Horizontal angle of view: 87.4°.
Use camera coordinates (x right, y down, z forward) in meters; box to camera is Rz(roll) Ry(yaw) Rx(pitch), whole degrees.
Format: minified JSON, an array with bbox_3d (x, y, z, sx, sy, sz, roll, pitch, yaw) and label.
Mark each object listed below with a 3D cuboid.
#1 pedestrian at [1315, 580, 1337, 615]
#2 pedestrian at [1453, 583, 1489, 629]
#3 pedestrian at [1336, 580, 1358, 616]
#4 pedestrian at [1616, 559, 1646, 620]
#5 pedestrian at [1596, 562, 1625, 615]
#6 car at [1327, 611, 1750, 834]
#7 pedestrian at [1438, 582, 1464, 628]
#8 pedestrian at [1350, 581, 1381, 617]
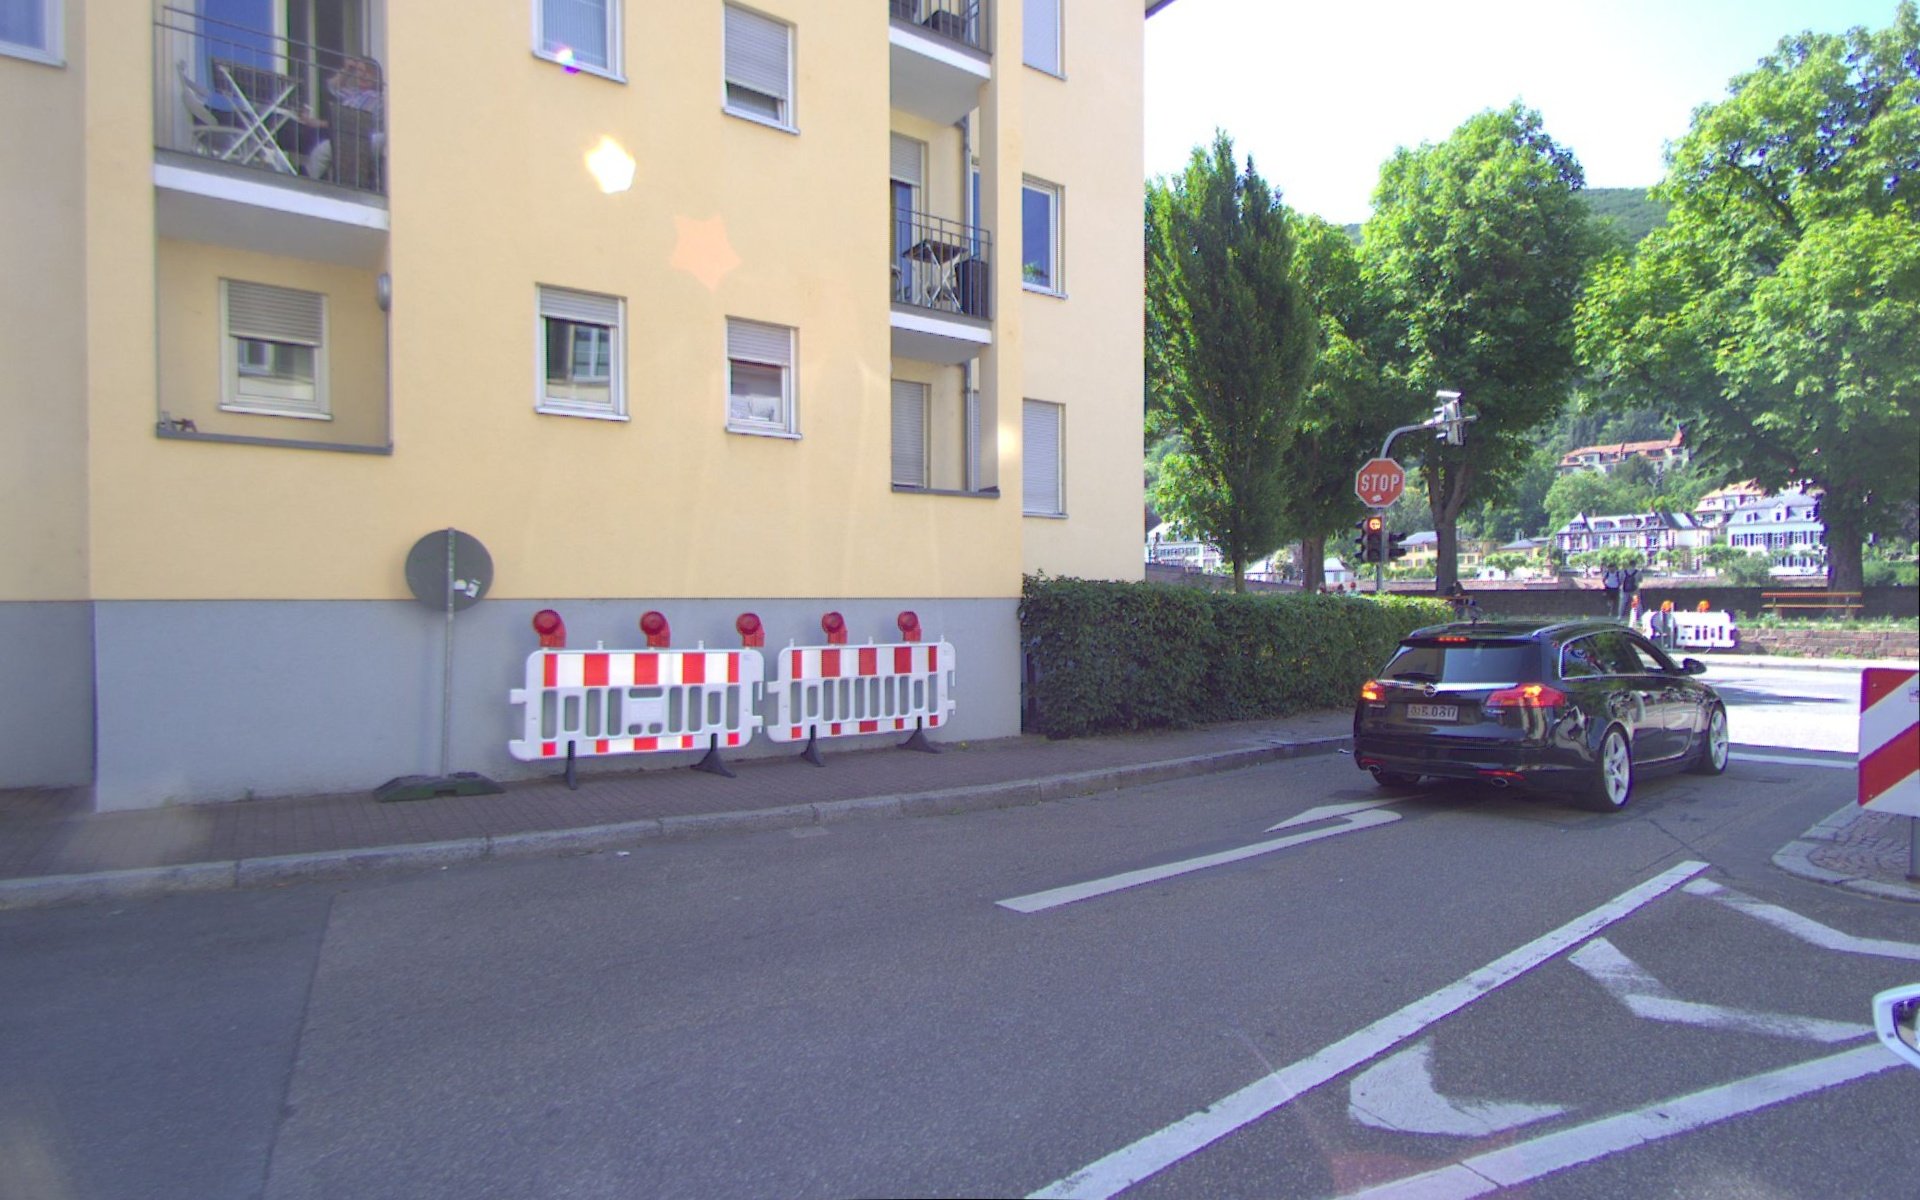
[{"bbox_3d":[13.475,-0.080,36.970,0.625,1.287,0.464,0,0,-35],"label":"pedestrian"},{"bbox_3d":[16.764,0.194,32.949,1.371,1.499,0.464,0,0,-35],"label":"pedestrian"},{"bbox_3d":[13.972,-0.055,36.247,0.625,1.287,0.464,0,0,-35],"label":"pedestrian"},{"bbox_3d":[20.777,-0.320,31.108,0.752,1.882,0.754,1,0,34],"label":"pedestrian"},{"bbox_3d":[22.216,-0.388,34.292,0.699,1.755,0.753,1,0,41],"label":"pedestrian"},{"bbox_3d":[5.294,0.864,8.887,4.684,1.481,1.700,0,-2,-40],"label":"car"},{"bbox_3d":[16.252,0.171,33.248,0.796,1.513,0.464,0,0,-35],"label":"pedestrian"},{"bbox_3d":[14.535,-0.040,35.983,1.211,1.287,0.464,0,0,-35],"label":"pedestrian"}]
